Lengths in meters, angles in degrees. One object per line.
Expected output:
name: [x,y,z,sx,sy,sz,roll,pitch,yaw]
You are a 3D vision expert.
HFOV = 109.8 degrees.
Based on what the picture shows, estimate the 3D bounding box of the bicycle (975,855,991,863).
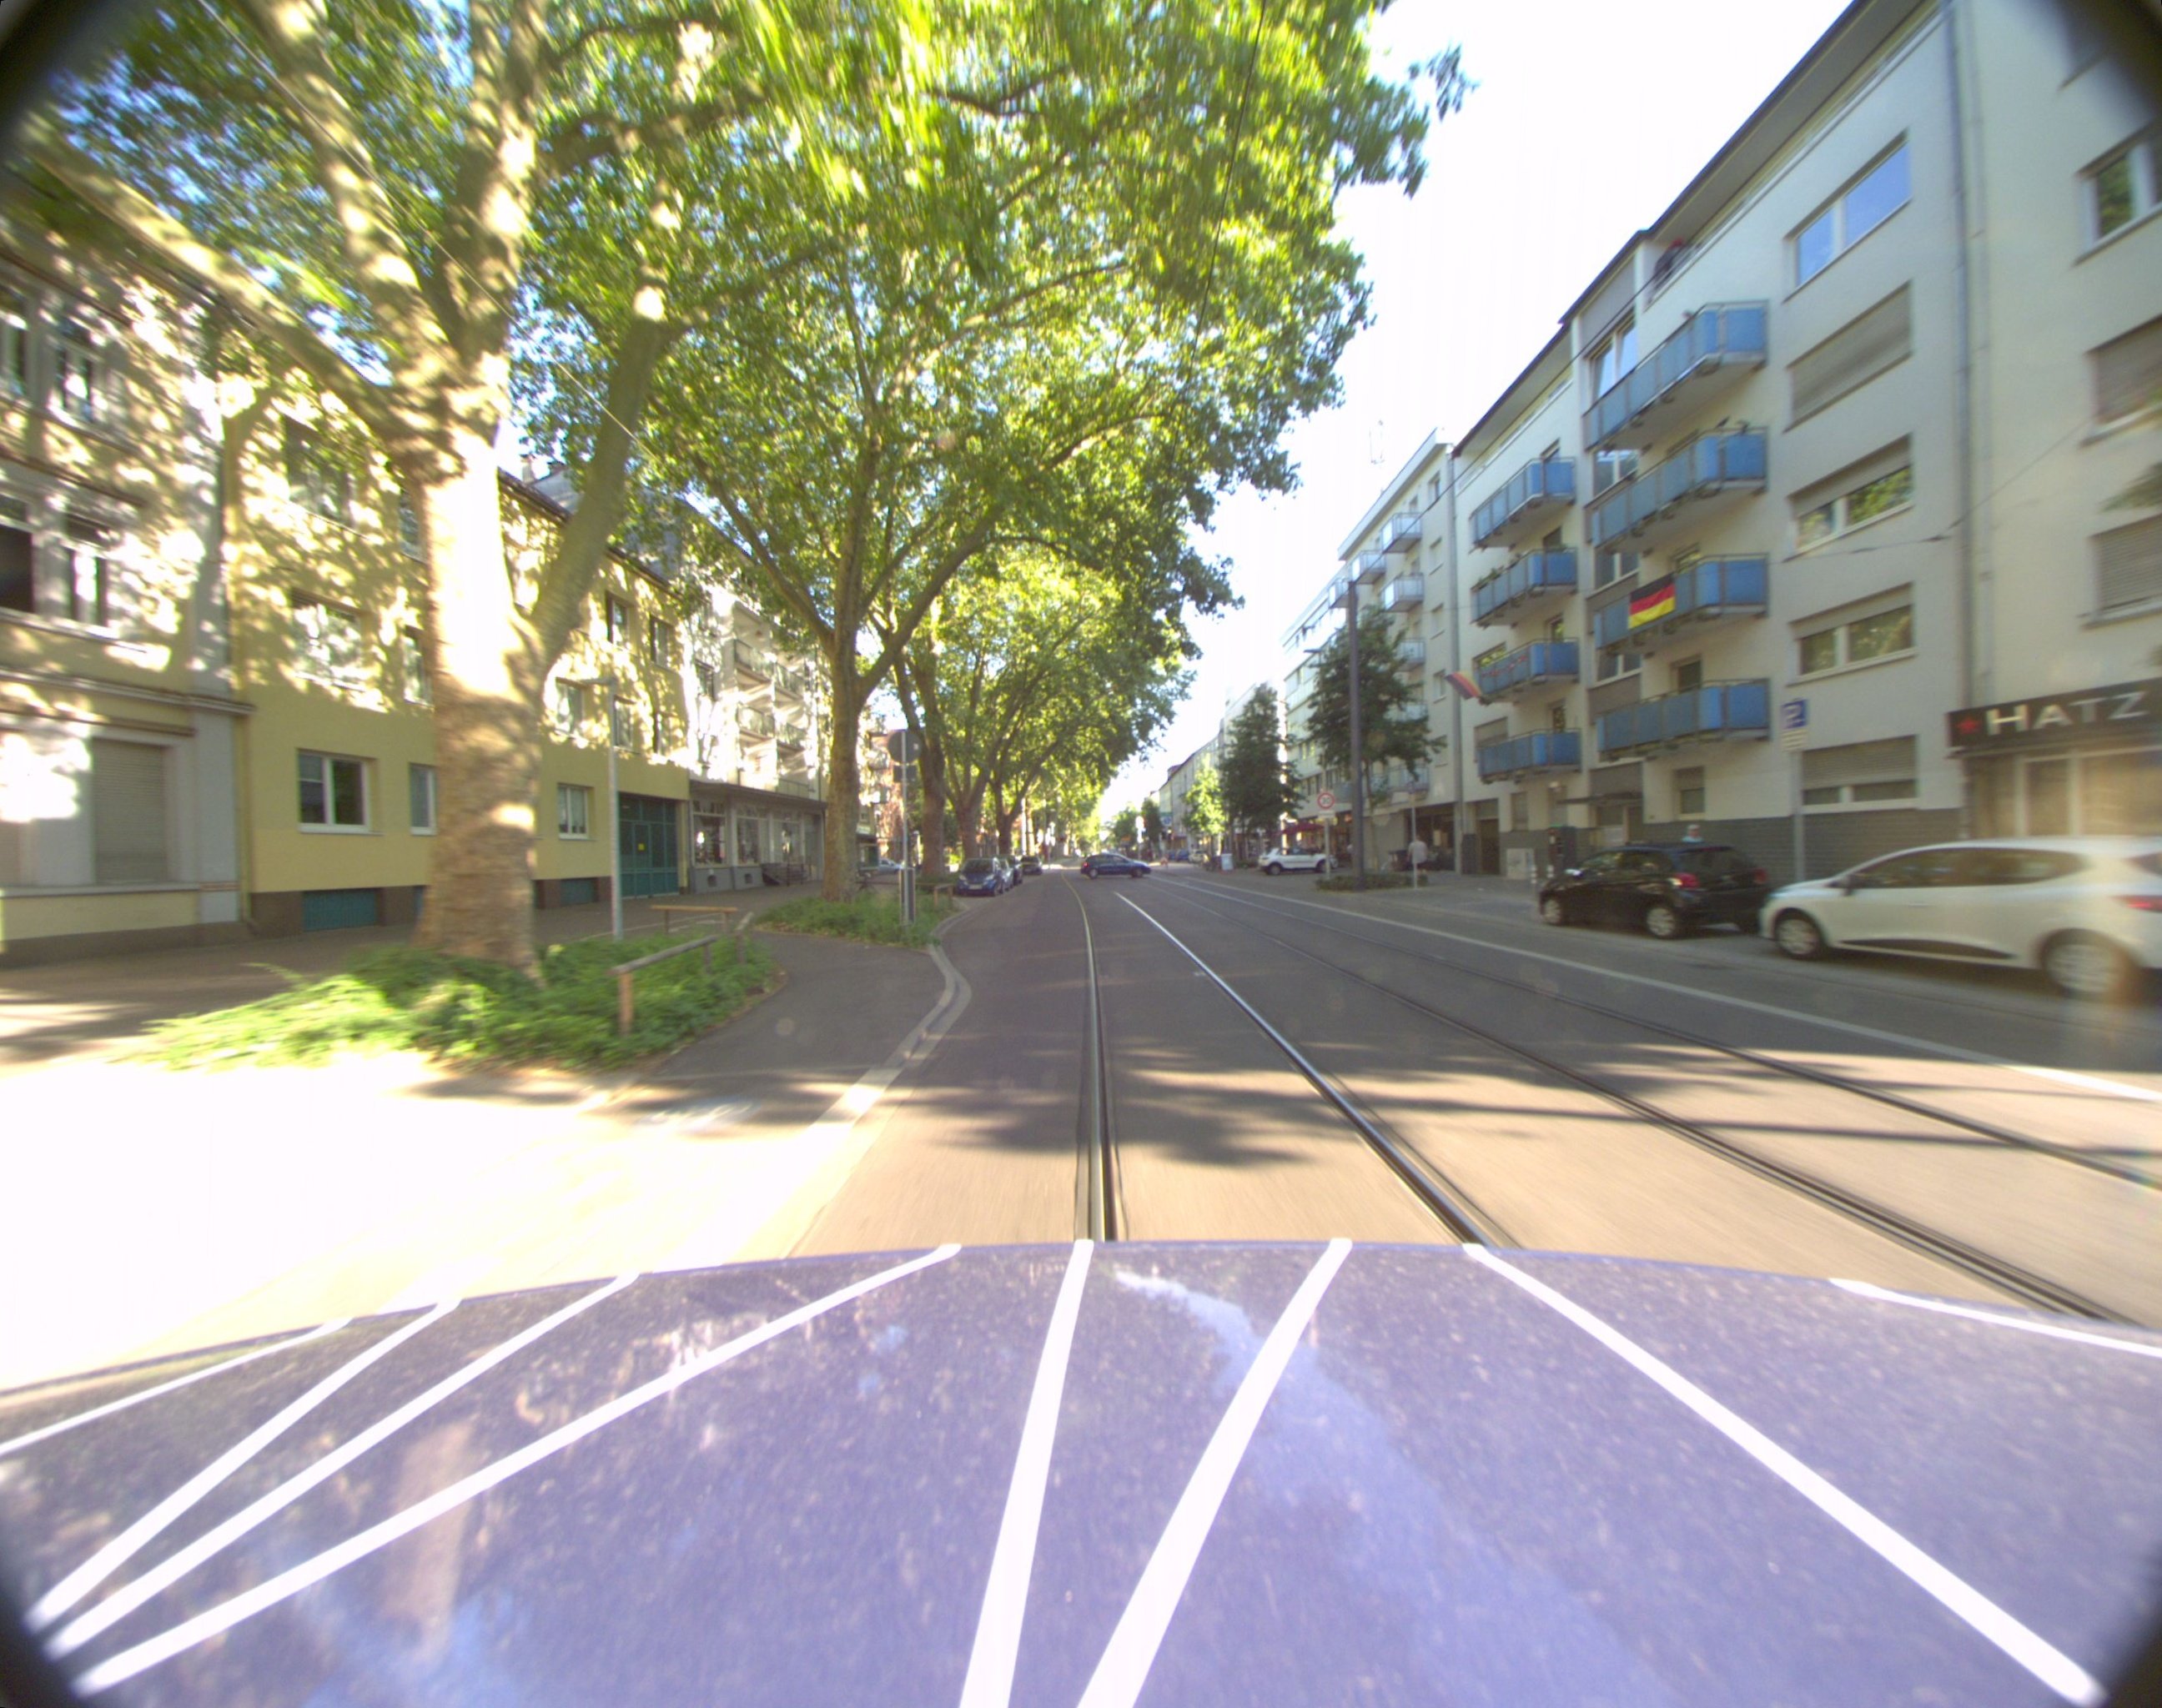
bicycle: [-13.056,0.650,101.323,2.034,1.150,0.572,0,1,11]

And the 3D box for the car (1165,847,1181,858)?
car: [12.670,-0.173,104.949,1.799,1.455,4.282,-1,0,1]

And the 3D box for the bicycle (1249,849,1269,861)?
bicycle: [16.811,0.110,71.774,1.785,1.150,0.573,-1,1,32]

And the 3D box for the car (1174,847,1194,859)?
car: [12.701,-0.133,93.719,1.961,1.535,4.388,-1,0,1]

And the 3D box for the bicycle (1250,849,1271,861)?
bicycle: [17.205,0.104,72.687,1.862,1.150,0.572,-1,1,5]

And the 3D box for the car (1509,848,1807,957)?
car: [9.437,0.682,12.904,1.718,1.455,3.997,-3,1,-6]

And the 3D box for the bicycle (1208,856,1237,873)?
bicycle: [9.027,0.653,48.485,1.696,1.001,0.657,-3,1,-4]

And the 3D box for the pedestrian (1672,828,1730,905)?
pedestrian: [14.030,0.281,17.215,0.665,1.681,0.748,-2,1,-1]

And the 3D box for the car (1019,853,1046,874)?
car: [-3.635,0.700,57.380,1.769,1.454,5.011,-2,0,-1]

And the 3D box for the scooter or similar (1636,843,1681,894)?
scooter or similar: [15.054,0.361,19.836,0.376,1.282,1.237,0,1,8]

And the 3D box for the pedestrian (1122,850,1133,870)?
pedestrian: [3.860,0.513,63.458,0.759,1.661,0.768,-1,1,-5]

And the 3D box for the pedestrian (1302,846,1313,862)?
pedestrian: [16.454,0.003,55.239,0.565,1.191,0.512,-2,1,-34]

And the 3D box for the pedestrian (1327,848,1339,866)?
pedestrian: [16.685,0.184,50.292,0.563,1.191,0.624,-1,1,0]

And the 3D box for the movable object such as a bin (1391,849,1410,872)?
movable object such as a bin: [15.127,0.299,35.955,0.674,1.049,0.574,-1,1,2]

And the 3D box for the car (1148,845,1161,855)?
car: [13.383,-0.732,138.586,1.808,1.923,4.049,-1,0,-1]

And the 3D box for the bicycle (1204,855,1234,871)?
bicycle: [9.278,0.606,50.966,1.834,1.001,0.657,-3,1,-4]

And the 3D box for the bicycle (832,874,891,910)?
bicycle: [-6.974,1.192,24.146,1.964,1.000,0.512,2,2,27]

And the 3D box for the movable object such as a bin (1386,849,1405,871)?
movable object such as a bin: [15.141,0.302,36.595,0.679,1.049,0.622,-1,1,2]

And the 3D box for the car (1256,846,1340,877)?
car: [11.649,0.378,41.052,4.022,1.467,1.852,-3,1,3]

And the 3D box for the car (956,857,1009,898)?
car: [-3.907,0.897,30.554,1.567,1.510,2.910,0,1,3]

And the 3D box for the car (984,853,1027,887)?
car: [-3.960,0.782,40.547,1.862,1.594,4.780,0,1,-1]

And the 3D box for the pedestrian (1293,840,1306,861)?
pedestrian: [17.350,-0.270,60.265,0.768,1.650,0.749,-1,1,-6]

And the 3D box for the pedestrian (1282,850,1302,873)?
pedestrian: [11.970,0.409,43.174,0.714,1.290,0.911,-1,1,-13]

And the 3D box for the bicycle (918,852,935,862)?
bicycle: [-17.816,0.370,87.704,1.931,1.150,0.573,0,1,16]

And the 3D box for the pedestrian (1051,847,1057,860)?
pedestrian: [-3.518,-0.014,97.999,0.768,1.650,0.917,-1,1,-2]

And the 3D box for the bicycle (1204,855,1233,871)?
bicycle: [9.417,0.584,52.051,1.834,1.001,0.657,-3,1,-4]

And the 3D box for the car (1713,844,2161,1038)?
car: [9.573,0.695,8.145,1.718,1.455,4.375,-5,1,-3]

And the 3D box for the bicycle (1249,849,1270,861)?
bicycle: [17.332,0.080,73.718,2.039,1.150,0.571,-2,1,-21]

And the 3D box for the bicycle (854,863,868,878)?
bicycle: [-14.929,1.100,51.585,0.572,0.991,1.779,0,1,-4]

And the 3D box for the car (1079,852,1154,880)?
car: [2.067,0.685,45.371,4.224,1.429,1.869,-2,1,-4]

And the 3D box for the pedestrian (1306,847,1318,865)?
pedestrian: [15.680,0.127,51.666,0.514,1.191,0.562,-2,1,-28]

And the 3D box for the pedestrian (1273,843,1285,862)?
pedestrian: [16.178,-0.098,62.022,0.727,1.547,0.768,-1,1,-5]

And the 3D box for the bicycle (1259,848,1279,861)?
bicycle: [17.770,0.076,71.780,1.785,1.150,0.573,-1,1,32]

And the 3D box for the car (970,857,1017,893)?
car: [-3.977,0.924,35.094,1.822,1.427,4.601,0,1,-3]

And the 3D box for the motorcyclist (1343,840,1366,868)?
motorcyclist: [14.331,0.011,39.824,0.875,1.432,1.016,-1,1,2]

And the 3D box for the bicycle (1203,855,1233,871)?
bicycle: [9.320,0.595,51.612,1.834,1.001,0.657,-3,1,-4]

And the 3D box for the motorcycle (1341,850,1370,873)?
motorcycle: [14.352,0.389,39.776,0.851,1.157,1.915,-1,0,2]

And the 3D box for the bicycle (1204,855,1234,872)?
bicycle: [9.211,0.613,50.647,1.834,1.058,0.657,-3,1,-4]

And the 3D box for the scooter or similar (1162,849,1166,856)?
scooter or similar: [14.058,-0.317,128.958,0.446,1.167,1.274,-1,1,-4]

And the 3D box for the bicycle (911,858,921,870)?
bicycle: [-16.688,0.986,76.812,0.601,1.150,1.698,0,1,4]

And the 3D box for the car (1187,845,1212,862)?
car: [12.698,-0.072,81.614,1.883,1.641,4.357,-4,0,0]

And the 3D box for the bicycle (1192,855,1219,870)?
bicycle: [8.779,0.593,53.535,1.696,1.001,0.657,-3,1,-4]

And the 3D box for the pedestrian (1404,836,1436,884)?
pedestrian: [12.239,0.196,27.439,0.765,1.681,0.794,-2,1,-1]

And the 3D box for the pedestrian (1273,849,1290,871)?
pedestrian: [11.715,0.359,44.418,0.714,1.290,0.747,-1,1,-13]

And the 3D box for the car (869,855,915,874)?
car: [-17.873,1.020,71.974,3.871,1.683,1.866,-1,1,1]

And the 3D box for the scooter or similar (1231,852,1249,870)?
scooter or similar: [10.816,0.474,51.582,1.082,1.169,0.498,-3,1,-1]

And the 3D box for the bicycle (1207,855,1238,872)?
bicycle: [9.268,0.622,49.834,1.834,1.001,0.657,-3,1,-4]

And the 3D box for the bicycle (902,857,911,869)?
bicycle: [-17.781,0.922,77.454,0.601,1.150,1.697,0,1,-4]

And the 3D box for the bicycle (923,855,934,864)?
bicycle: [-20.731,0.713,103.405,0.707,1.150,2.039,0,1,10]

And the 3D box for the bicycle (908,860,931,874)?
bicycle: [-13.631,1.088,64.151,1.799,1.150,0.744,0,1,-21]

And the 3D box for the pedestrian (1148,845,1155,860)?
pedestrian: [7.422,-0.135,79.957,0.655,1.576,0.772,-2,1,1]
